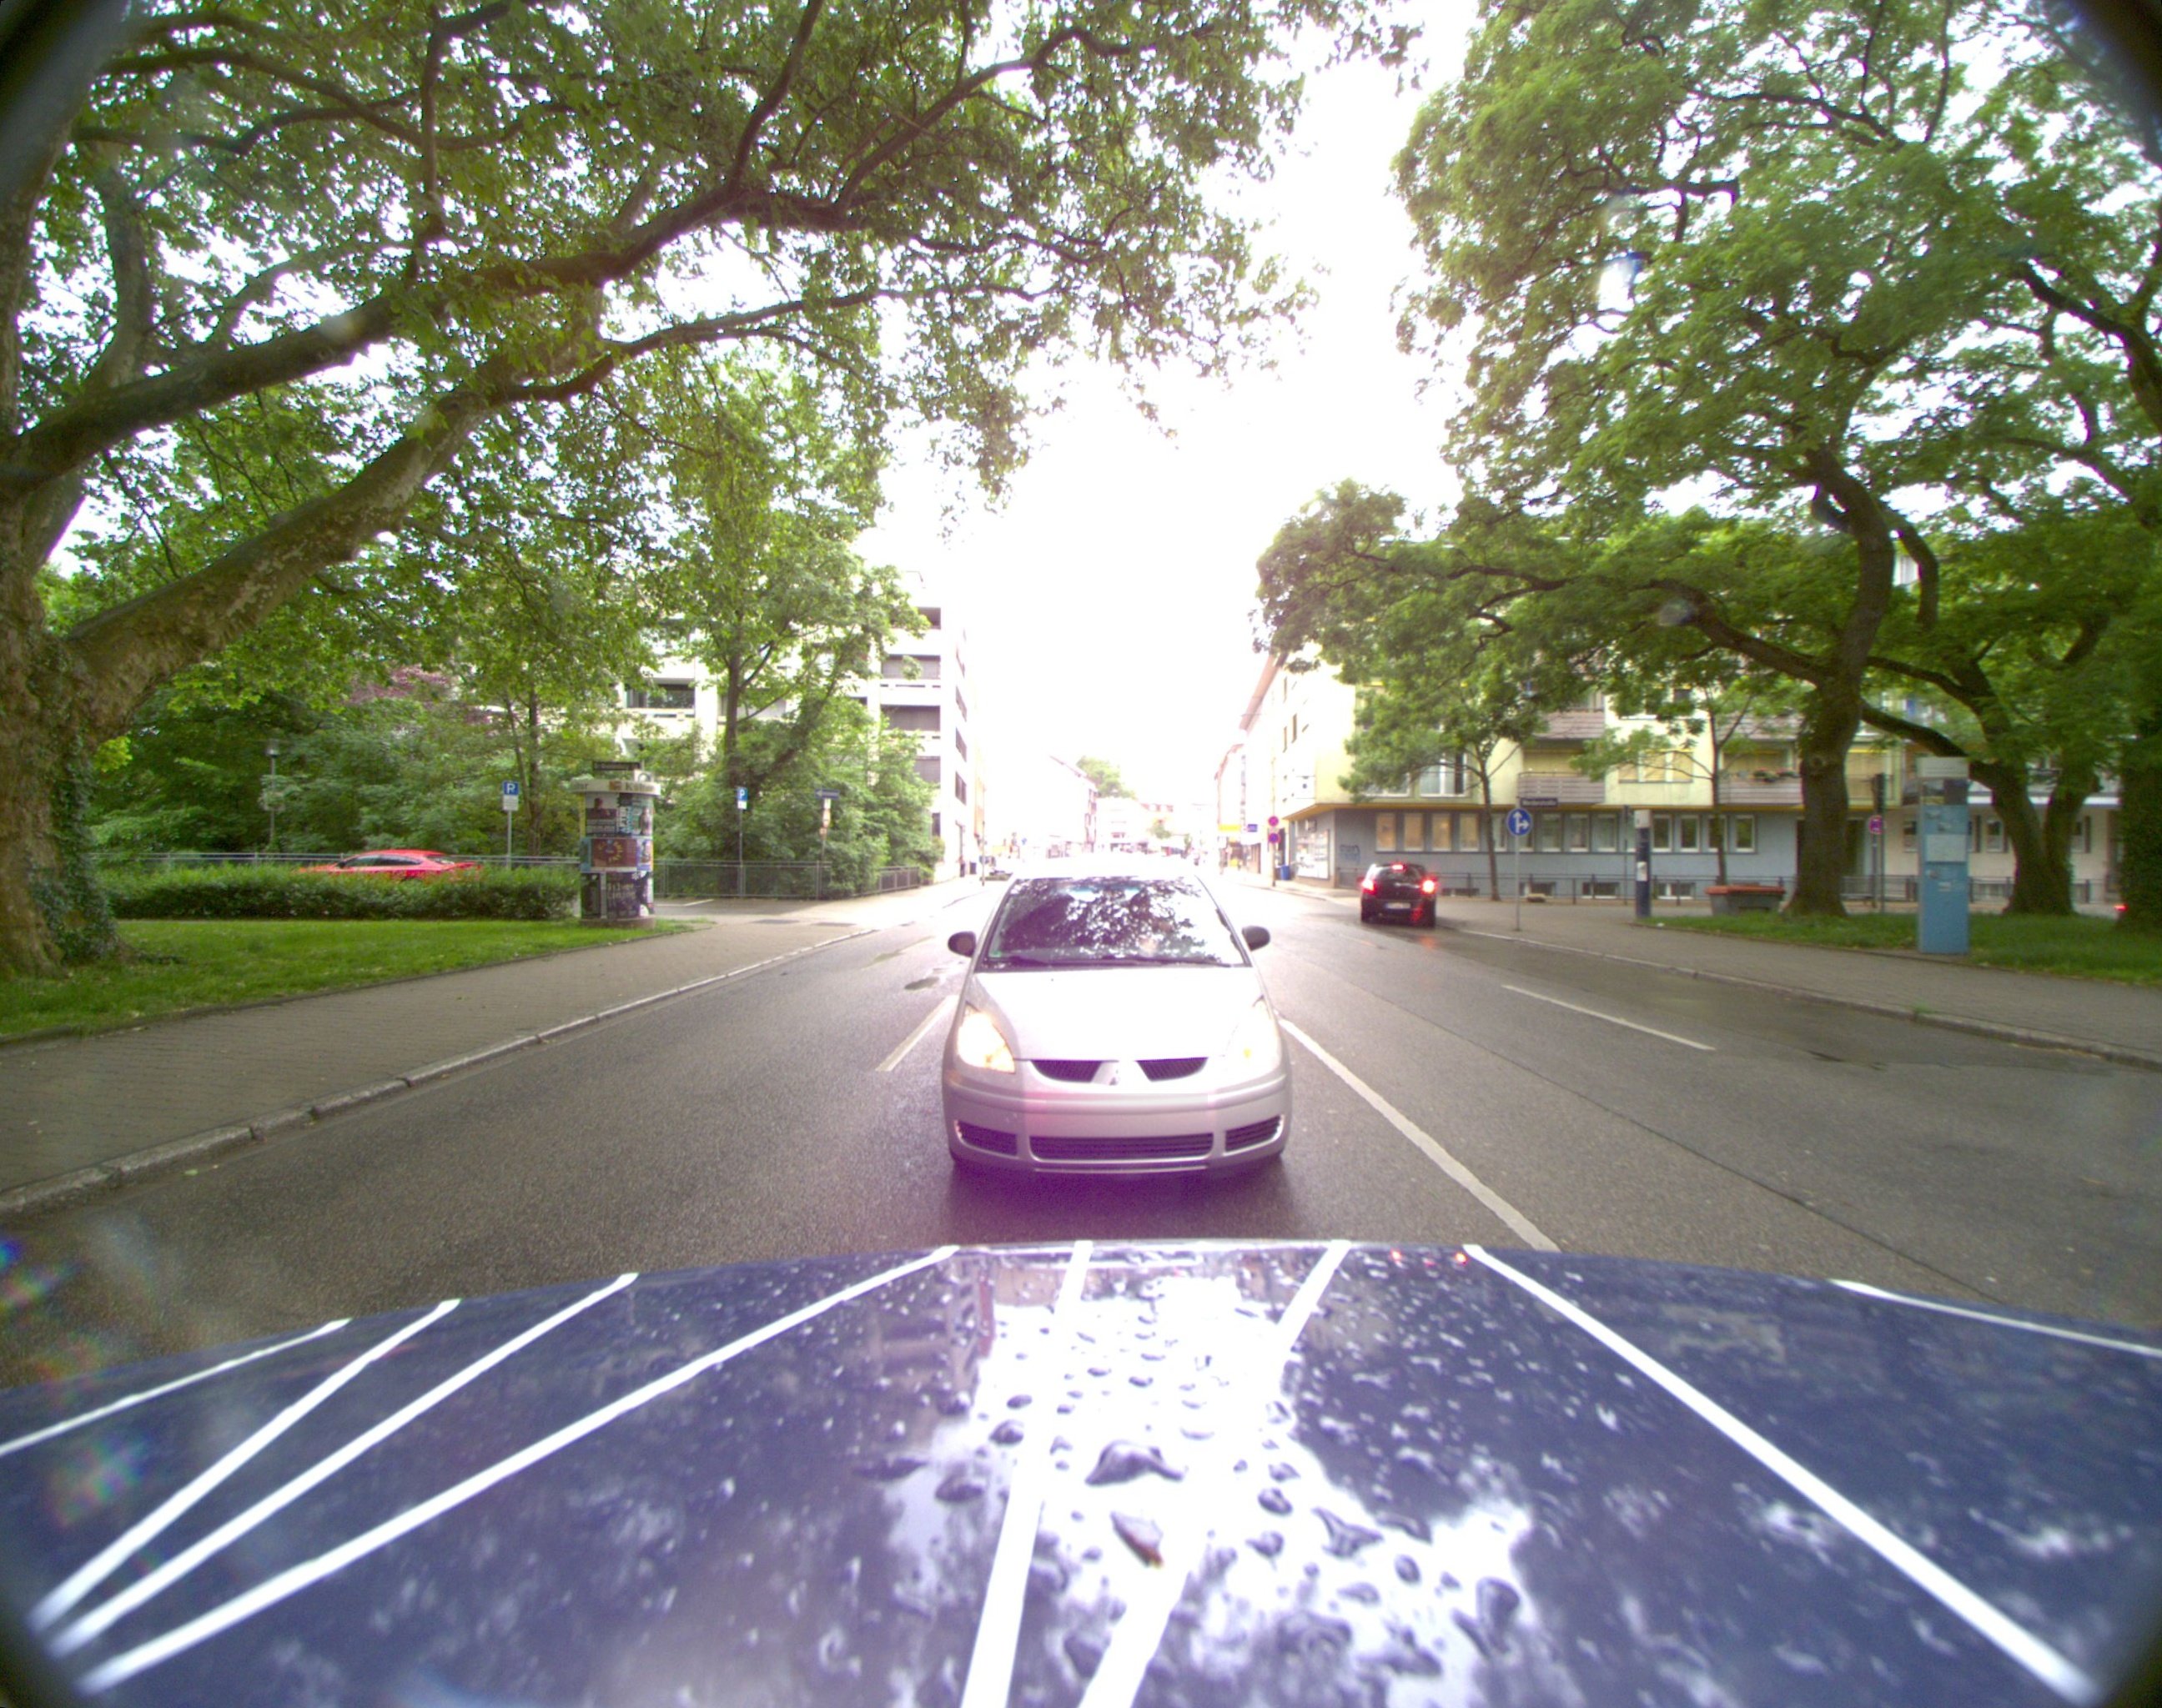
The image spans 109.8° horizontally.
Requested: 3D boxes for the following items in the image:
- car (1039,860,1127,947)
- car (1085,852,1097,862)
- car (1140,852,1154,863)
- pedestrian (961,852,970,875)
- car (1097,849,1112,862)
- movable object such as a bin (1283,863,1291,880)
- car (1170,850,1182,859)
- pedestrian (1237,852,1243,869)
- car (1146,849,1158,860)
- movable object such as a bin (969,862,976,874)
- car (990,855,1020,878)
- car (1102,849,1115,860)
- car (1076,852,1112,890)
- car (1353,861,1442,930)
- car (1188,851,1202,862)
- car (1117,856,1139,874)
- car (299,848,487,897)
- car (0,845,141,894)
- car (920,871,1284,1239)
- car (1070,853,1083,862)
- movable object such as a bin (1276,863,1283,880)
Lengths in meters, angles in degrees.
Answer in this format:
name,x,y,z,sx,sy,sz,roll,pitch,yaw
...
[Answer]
name,x,y,z,sx,sy,sz,roll,pitch,yaw
car,0.119,0.913,15.729,1.590,1.540,3.771,1,0,2
car,1.573,0.438,120.013,1.802,1.433,3.897,1,0,1
car,9.819,0.524,112.924,1.998,1.631,4.001,1,0,4
pedestrian,-8.007,0.658,52.700,0.480,1.521,0.481,-2,1,1
car,3.488,0.223,113.015,1.935,1.817,3.999,-2,1,0
movable object such as a bin,13.076,1.099,48.247,0.415,1.023,0.353,1,1,8
car,17.120,0.100,137.330,1.867,1.648,4.001,1,0,4
pedestrian,17.578,0.709,84.027,0.594,1.833,0.565,1,1,8
car,12.020,0.056,128.679,1.998,1.841,4.001,1,0,4
movable object such as a bin,-8.996,1.163,62.932,0.556,1.035,0.292,1,1,0
car,-5.317,0.858,53.506,1.681,1.424,3.681,3,0,1
car,4.488,0.067,122.906,1.889,1.620,4.000,-2,1,3
car,0.570,0.774,35.998,1.584,1.705,3.649,1,0,0
car,7.800,0.954,19.001,1.569,1.479,3.571,2,0,15
car,18.163,0.359,121.350,1.889,1.707,4.001,1,0,4
car,4.068,0.969,66.200,1.701,1.433,3.897,-2,0,1
car,-19.428,0.514,21.574,3.790,1.271,1.576,1,1,-3
car,-29.005,0.411,21.233,3.468,1.271,1.448,1,1,-5
car,0.121,0.929,4.981,1.576,1.514,3.241,-1,0,1
car,-0.678,0.511,113.444,1.802,1.433,3.896,1,0,0
movable object such as a bin,12.699,1.111,48.586,0.338,1.023,0.353,1,1,8
